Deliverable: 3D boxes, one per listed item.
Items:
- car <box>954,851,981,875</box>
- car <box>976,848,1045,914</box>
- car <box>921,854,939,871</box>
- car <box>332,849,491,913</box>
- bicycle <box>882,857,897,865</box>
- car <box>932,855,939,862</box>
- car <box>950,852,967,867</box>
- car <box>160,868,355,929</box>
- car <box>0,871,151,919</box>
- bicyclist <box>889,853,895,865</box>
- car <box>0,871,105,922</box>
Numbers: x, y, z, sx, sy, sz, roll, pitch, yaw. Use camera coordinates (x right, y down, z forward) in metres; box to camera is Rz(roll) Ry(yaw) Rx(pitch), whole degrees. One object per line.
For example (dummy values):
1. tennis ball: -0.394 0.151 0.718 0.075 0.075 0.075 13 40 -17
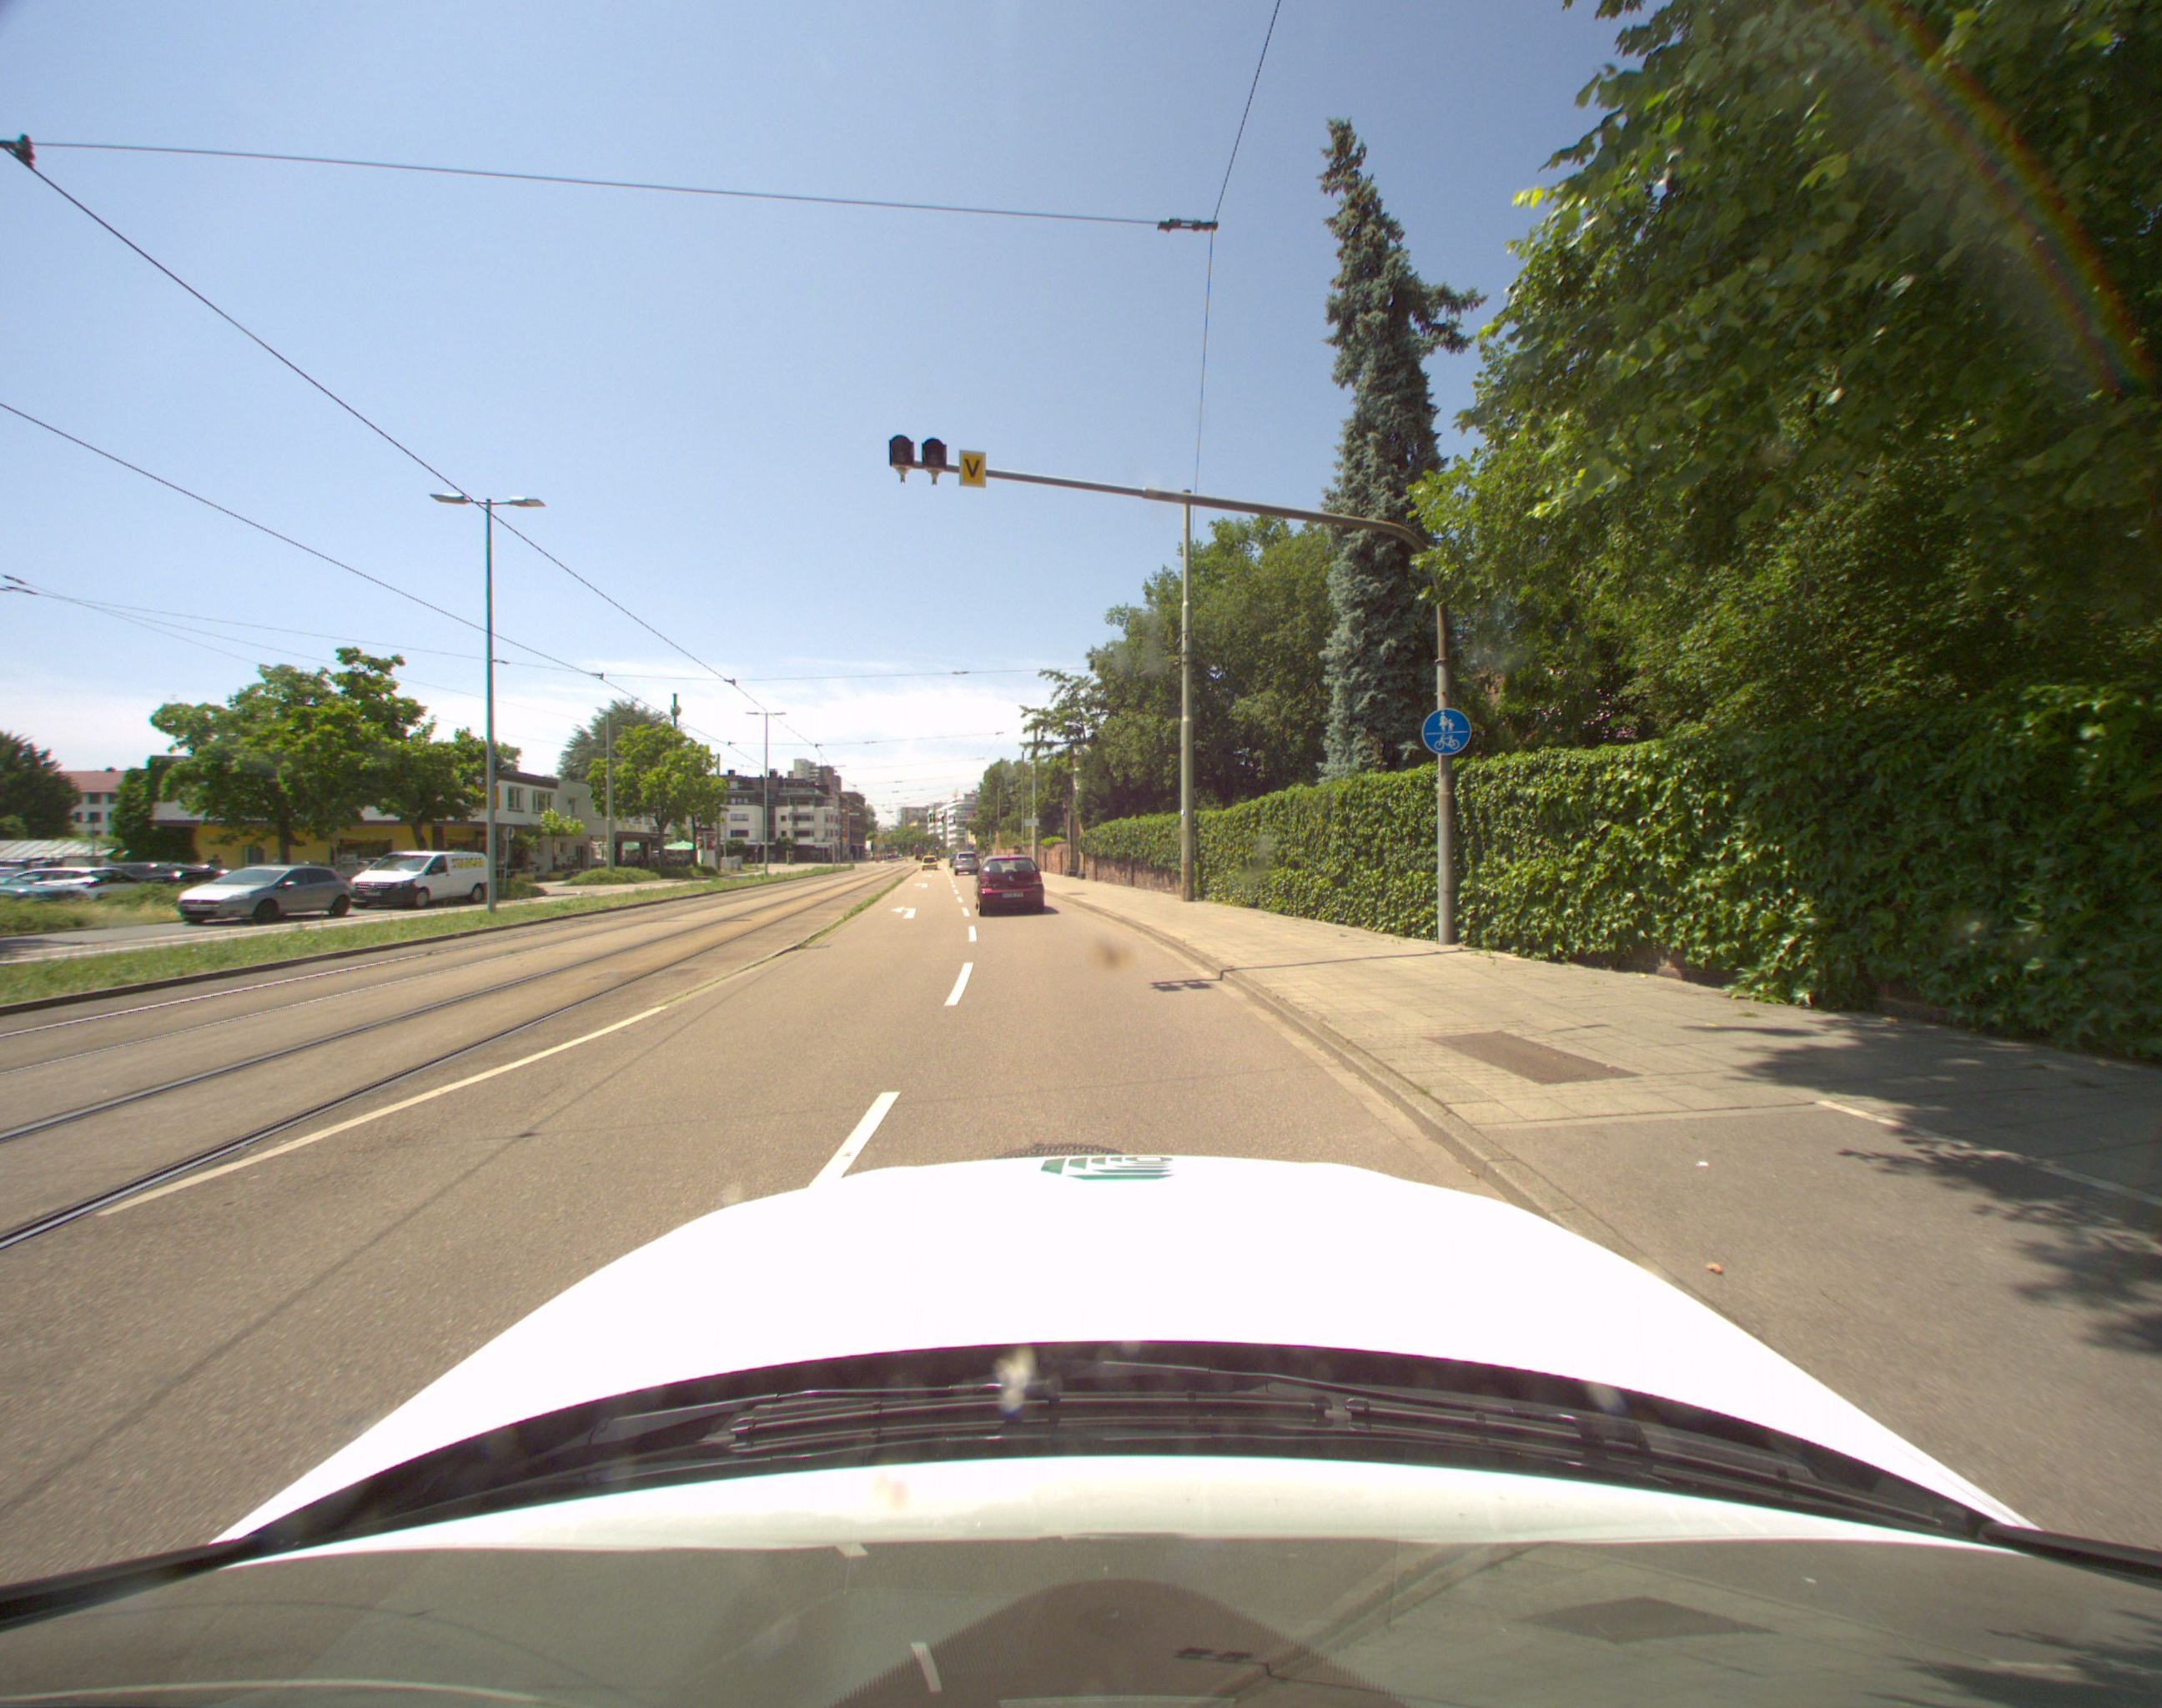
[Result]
1. car: -8.224 0.605 58.921 1.795 1.683 3.987 0 0 -10
2. car: -1.900 0.632 21.164 1.608 1.498 3.990 -1 0 -7
3. car: -15.560 0.833 84.101 1.795 1.683 3.987 0 0 -10
4. car: -23.090 0.852 28.403 1.875 1.965 5.147 3 0 -10
5. bicycle: -34.269 1.309 146.013 2.520 1.419 0.632 -1 0 -24
6. car: -26.928 0.889 150.618 1.354 1.252 2.962 0 0 -10
7. car: -13.505 0.605 89.848 1.773 1.630 3.989 0 0 -8
8. car: -21.972 1.135 21.975 1.630 1.420 3.856 1 0 -8
9. car: -34.067 1.352 27.090 3.865 1.430 1.640 -1 0 -12
10. bicyclist: -33.946 0.961 146.149 0.960 2.091 0.846 -1 0 -23
11. car: -32.756 1.310 24.664 3.865 1.430 1.640 -1 0 -12
